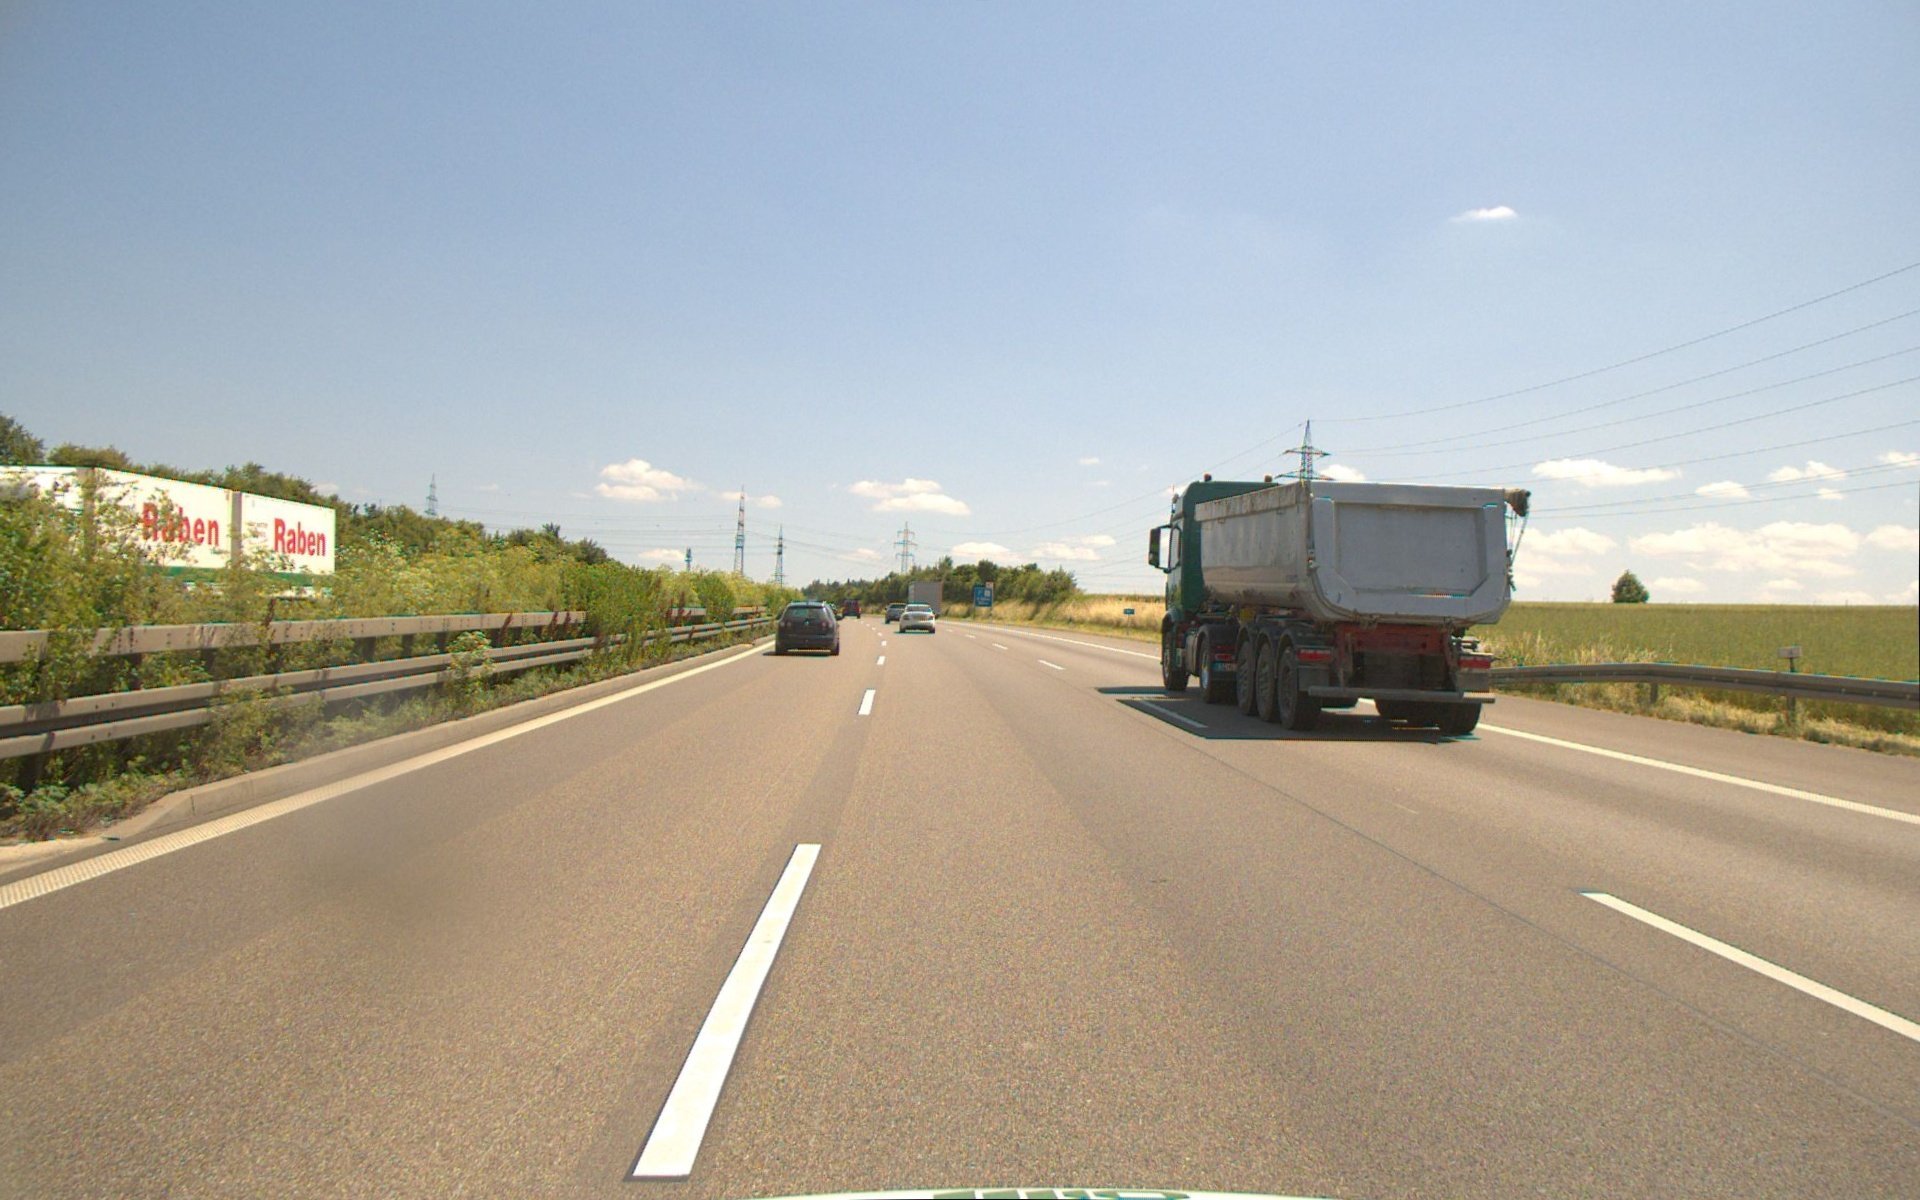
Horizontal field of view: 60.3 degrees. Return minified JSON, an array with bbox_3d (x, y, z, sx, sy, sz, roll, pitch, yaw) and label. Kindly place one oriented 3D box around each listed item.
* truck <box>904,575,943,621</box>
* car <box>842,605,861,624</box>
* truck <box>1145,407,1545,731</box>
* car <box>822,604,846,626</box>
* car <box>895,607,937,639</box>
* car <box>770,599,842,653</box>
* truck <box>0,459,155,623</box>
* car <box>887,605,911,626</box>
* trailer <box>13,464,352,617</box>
[{"bbox_3d":[-3.409,-0.084,150.842,3.157,3.993,9.054,1,-1,-3],"label":"truck"},{"bbox_3d":[-11.405,1.469,173.942,1.864,1.959,3.997,1,0,-3],"label":"car"},{"bbox_3d":[5.259,-0.345,25.846,2.807,3.789,12.757,1,0,-2],"label":"truck"},{"bbox_3d":[-11.486,1.346,150.762,1.953,1.892,3.999,1,0,-1],"label":"car"},{"bbox_3d":[-2.255,1.132,84.225,1.785,1.568,3.908,1,0,-7],"label":"car"},{"bbox_3d":[-4.314,0.704,46.858,1.721,1.454,3.999,1,0,-1],"label":"car"},{"bbox_3d":[-20.528,-1.238,37.088,2.545,3.409,5.043,1,0,-2],"label":"truck"},{"bbox_3d":[-4.600,1.153,124.734,1.802,1.568,3.913,1,0,-2],"label":"car"},{"bbox_3d":[-20.814,-1.355,46.016,2.545,3.503,15.822,1,0,-2],"label":"trailer"}]
